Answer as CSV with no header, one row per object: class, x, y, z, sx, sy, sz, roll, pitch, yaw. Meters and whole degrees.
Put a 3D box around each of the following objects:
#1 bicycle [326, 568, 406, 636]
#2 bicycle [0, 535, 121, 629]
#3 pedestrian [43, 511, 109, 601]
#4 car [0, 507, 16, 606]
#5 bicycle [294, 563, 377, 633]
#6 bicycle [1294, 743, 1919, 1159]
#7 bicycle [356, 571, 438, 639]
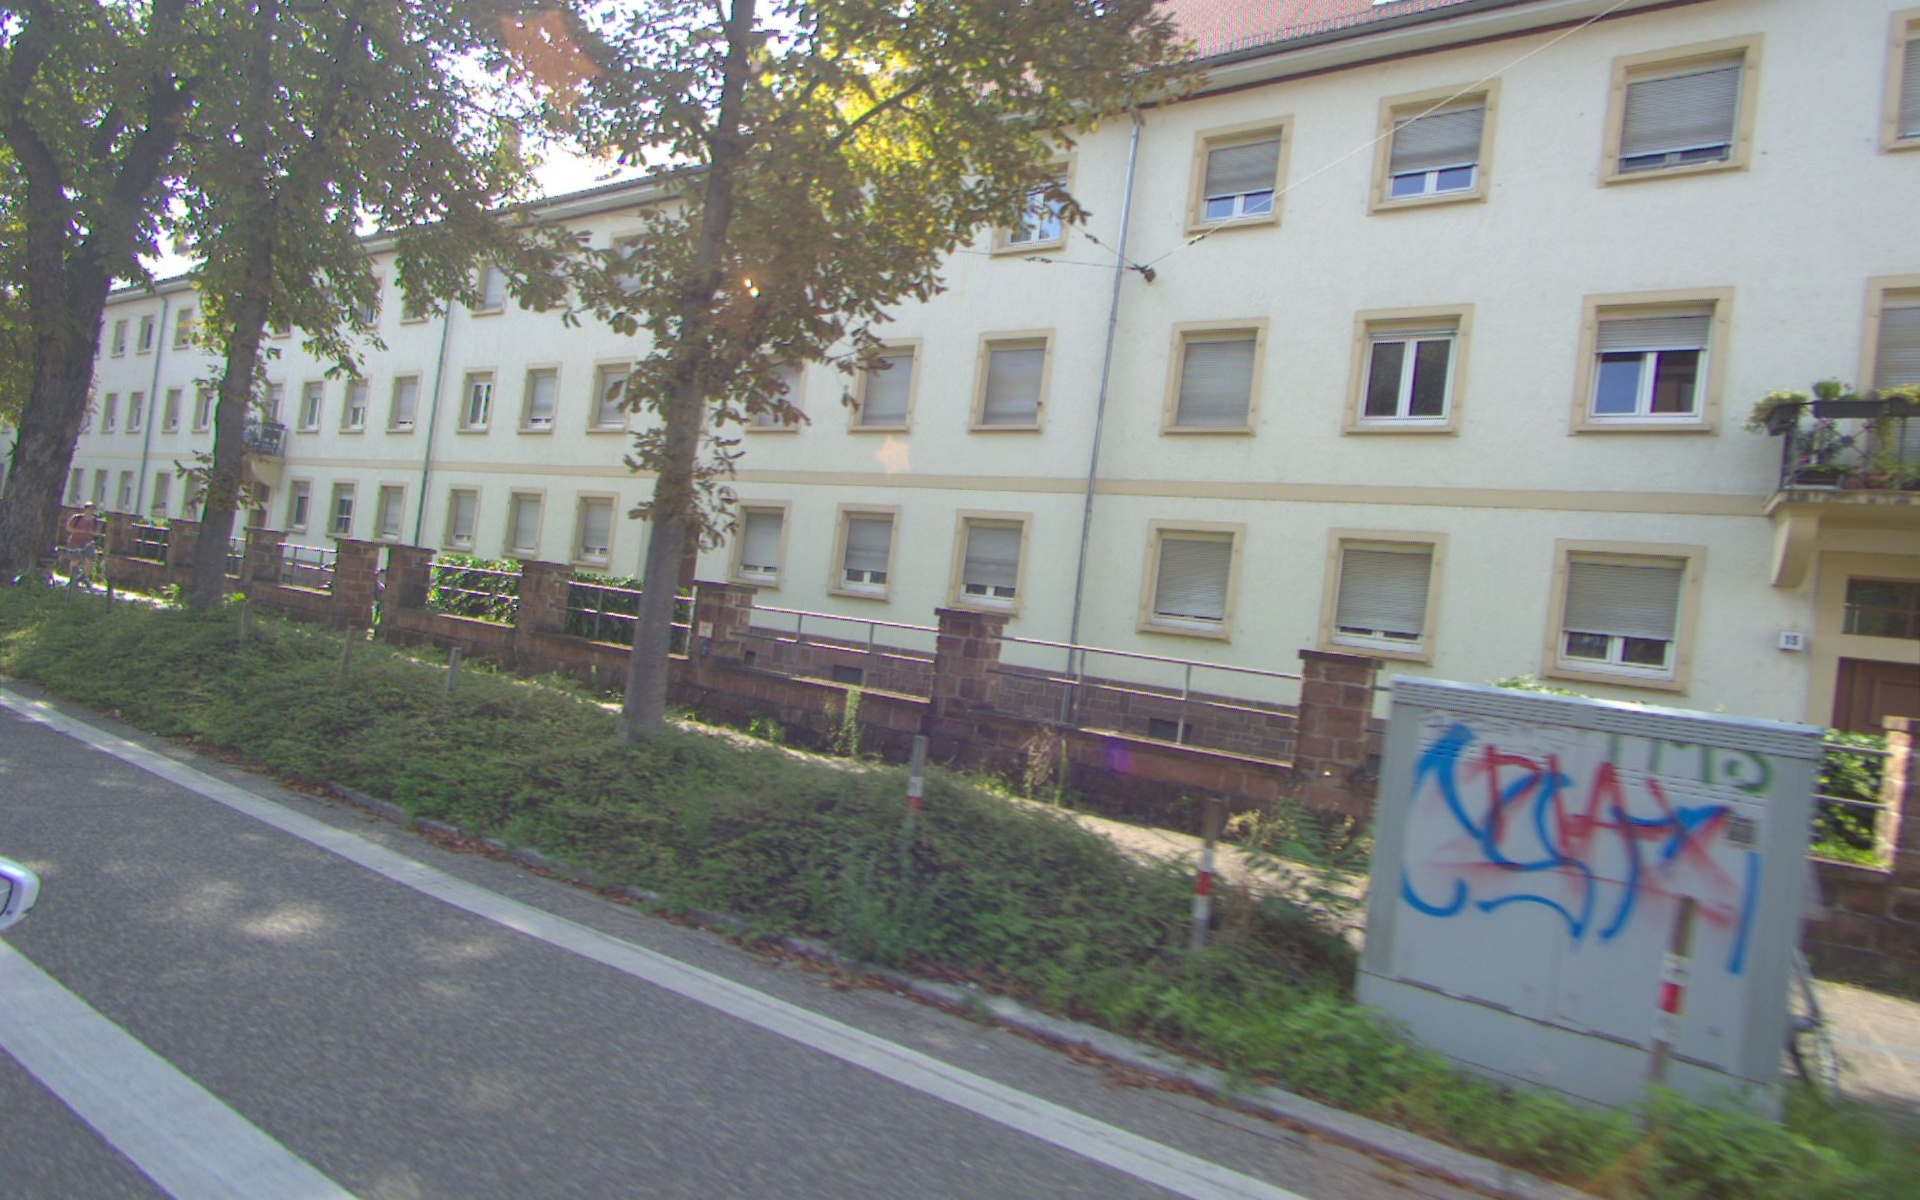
bicycle,-11.265,0.034,19.061,1.701,1.085,0.524,6,-2,34
bicycle,-11.822,-0.214,13.160,0.517,1.085,1.724,8,-2,-15
pedestrian,-18.784,-0.932,21.371,0.865,1.769,0.752,6,-2,40
car,-17.073,-0.884,16.557,3.786,1.559,1.644,6,0,39
bicycle,-11.483,-0.051,18.479,1.701,1.085,0.524,6,-2,34
bicycle,2.822,1.402,4.524,2.294,1.117,0.773,6,-1,31
bicycle,-10.625,0.081,18.976,1.701,1.085,0.524,6,-2,34
